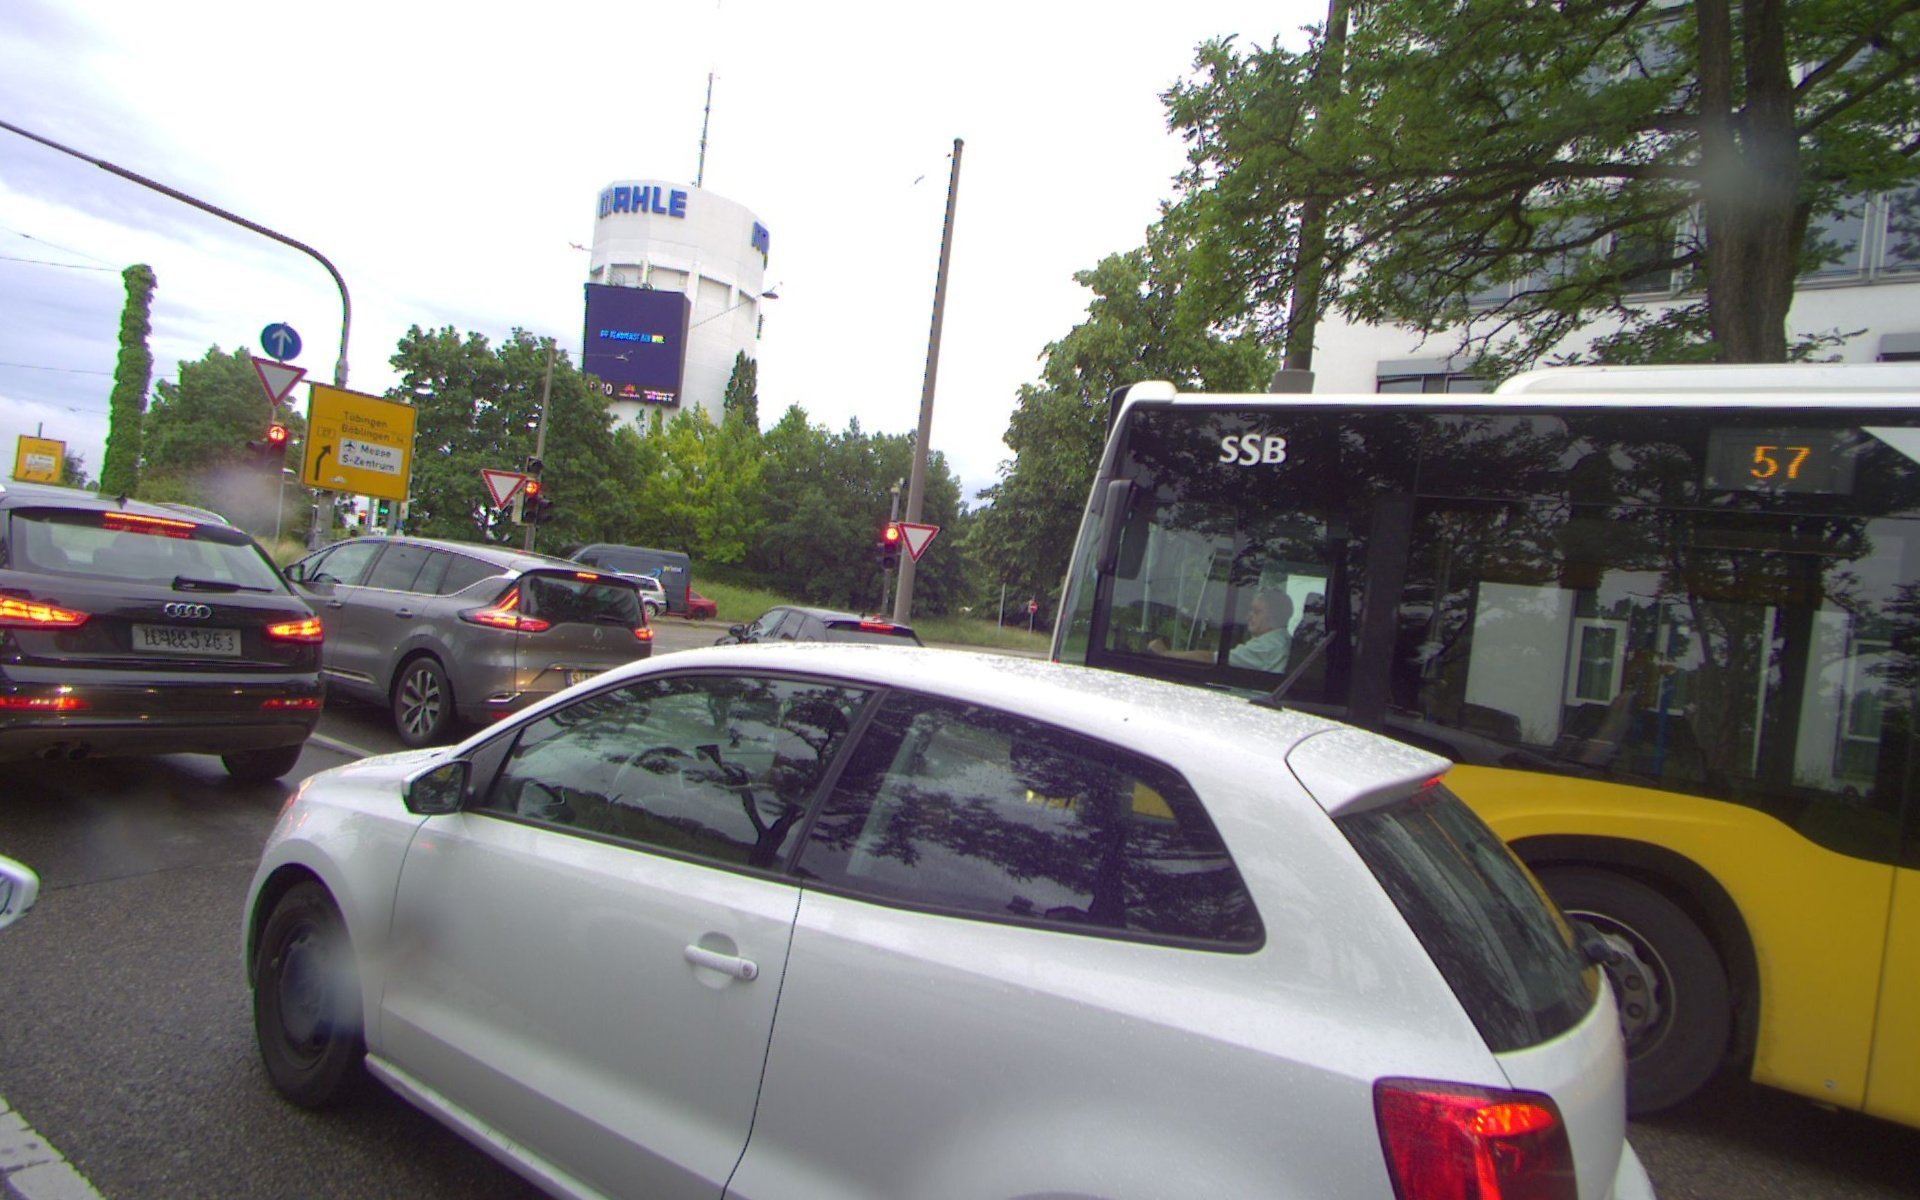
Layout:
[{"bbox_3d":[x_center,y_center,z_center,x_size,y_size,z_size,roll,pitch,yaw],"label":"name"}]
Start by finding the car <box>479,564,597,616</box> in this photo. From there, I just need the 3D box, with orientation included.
[{"bbox_3d":[-17.722,-0.400,42.289,4.112,1.582,1.852,9,-3,-38],"label":"car"}]

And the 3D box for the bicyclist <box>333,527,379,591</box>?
[{"bbox_3d":[-16.365,-1.098,27.242,0.804,1.601,1.013,9,-3,-35],"label":"bicyclist"}]

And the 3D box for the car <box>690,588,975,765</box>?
[{"bbox_3d":[-1.737,0.819,12.241,1.851,1.516,4.117,7,1,-31],"label":"car"}]

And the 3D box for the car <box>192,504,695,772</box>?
[{"bbox_3d":[-4.848,0.263,9.289,4.488,1.694,1.869,7,-1,30],"label":"car"}]

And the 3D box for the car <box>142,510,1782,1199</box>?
[{"bbox_3d":[-0.342,0.710,2.809,3.748,1.447,1.745,6,-3,32],"label":"car"}]

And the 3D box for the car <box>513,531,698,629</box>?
[{"bbox_3d":[-13.186,-0.667,37.627,5.972,2.772,2.065,9,-3,-33],"label":"car"}]

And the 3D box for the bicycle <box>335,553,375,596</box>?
[{"bbox_3d":[-16.377,-0.701,27.211,0.803,1.035,2.309,6,-1,-33],"label":"bicycle"}]

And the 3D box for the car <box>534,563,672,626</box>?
[{"bbox_3d":[-12.258,-0.153,34.627,4.027,1.586,1.855,9,-4,-35],"label":"car"}]

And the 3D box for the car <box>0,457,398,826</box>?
[{"bbox_3d":[-5.565,0.100,6.074,4.045,1.613,1.889,6,-3,31],"label":"car"}]

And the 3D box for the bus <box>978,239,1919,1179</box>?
[{"bbox_3d":[6.051,0.744,3.309,11.943,3.187,2.733,7,-2,32],"label":"bus"}]
